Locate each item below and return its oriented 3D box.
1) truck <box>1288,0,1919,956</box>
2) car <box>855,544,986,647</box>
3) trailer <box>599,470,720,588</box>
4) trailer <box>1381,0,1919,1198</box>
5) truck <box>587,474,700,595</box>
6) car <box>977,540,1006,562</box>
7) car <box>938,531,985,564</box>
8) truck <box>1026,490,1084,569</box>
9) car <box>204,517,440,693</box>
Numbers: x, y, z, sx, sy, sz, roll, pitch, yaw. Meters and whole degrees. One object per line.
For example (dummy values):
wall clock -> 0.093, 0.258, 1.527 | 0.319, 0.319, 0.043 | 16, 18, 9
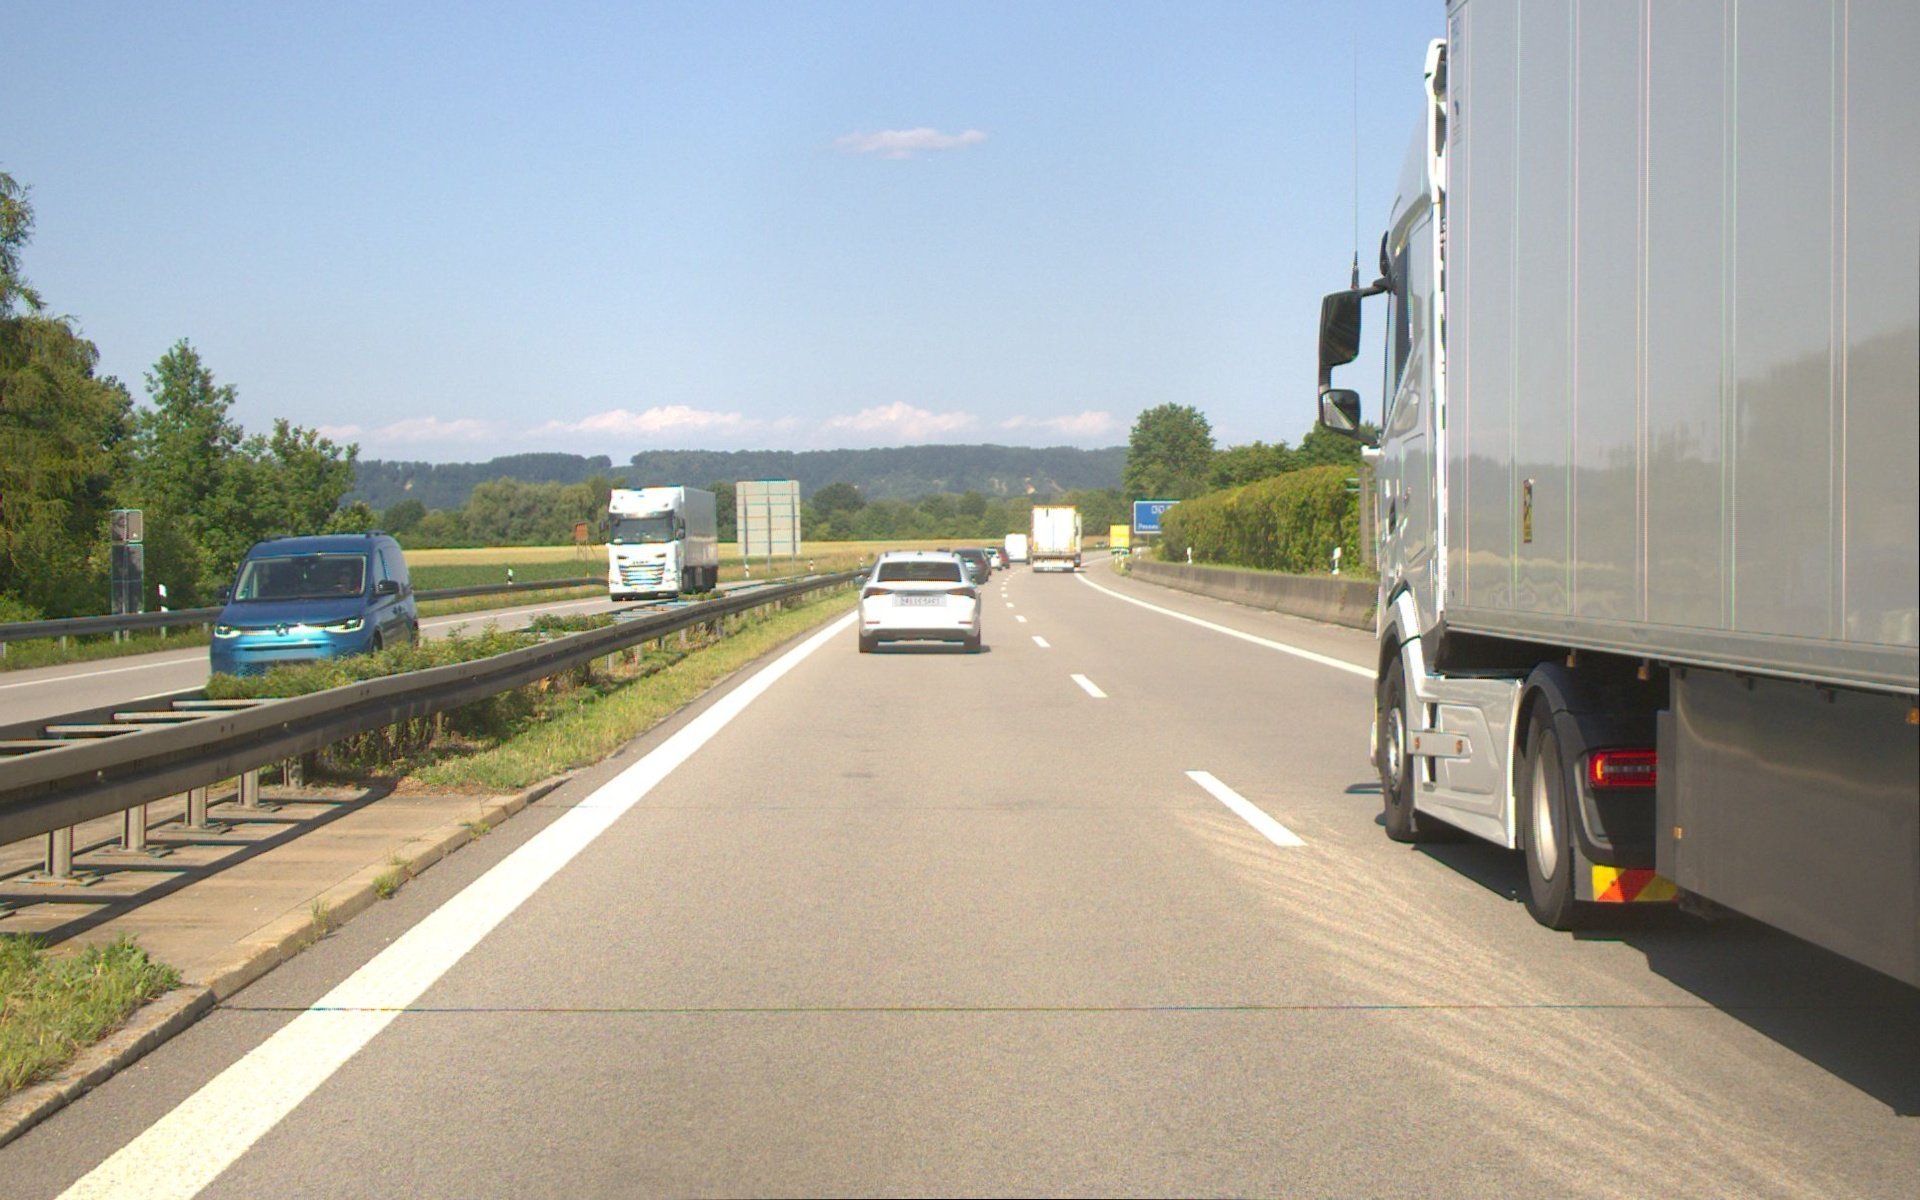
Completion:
truck -> 3.438, -0.767, 16.185 | 2.840, 3.953, 7.044 | -2, 1, -1
car -> -0.628, -0.111, 51.104 | 1.840, 1.416, 5.255 | 1, 1, -2
trailer -> -11.243, -2.642, 130.083 | 3.151, 4.110, 13.442 | -2, 1, 0
trailer -> 3.525, -0.670, 8.877 | 2.818, 3.953, 14.161 | -2, 1, -1
truck -> -11.320, -2.342, 123.747 | 3.156, 4.087, 7.735 | -2, 1, 0
car -> 2.042, -3.165, 222.311 | 1.771, 1.416, 4.364 | 0, 1, 2
car -> 0.080, -2.334, 152.218 | 1.771, 1.416, 4.495 | 0, 1, 3
truck -> 5.739, -4.231, 206.079 | 3.152, 4.596, 8.904 | -1, 1, 3
car -> -7.290, 0.005, 39.762 | 1.754, 1.843, 5.011 | -2, 1, 0
